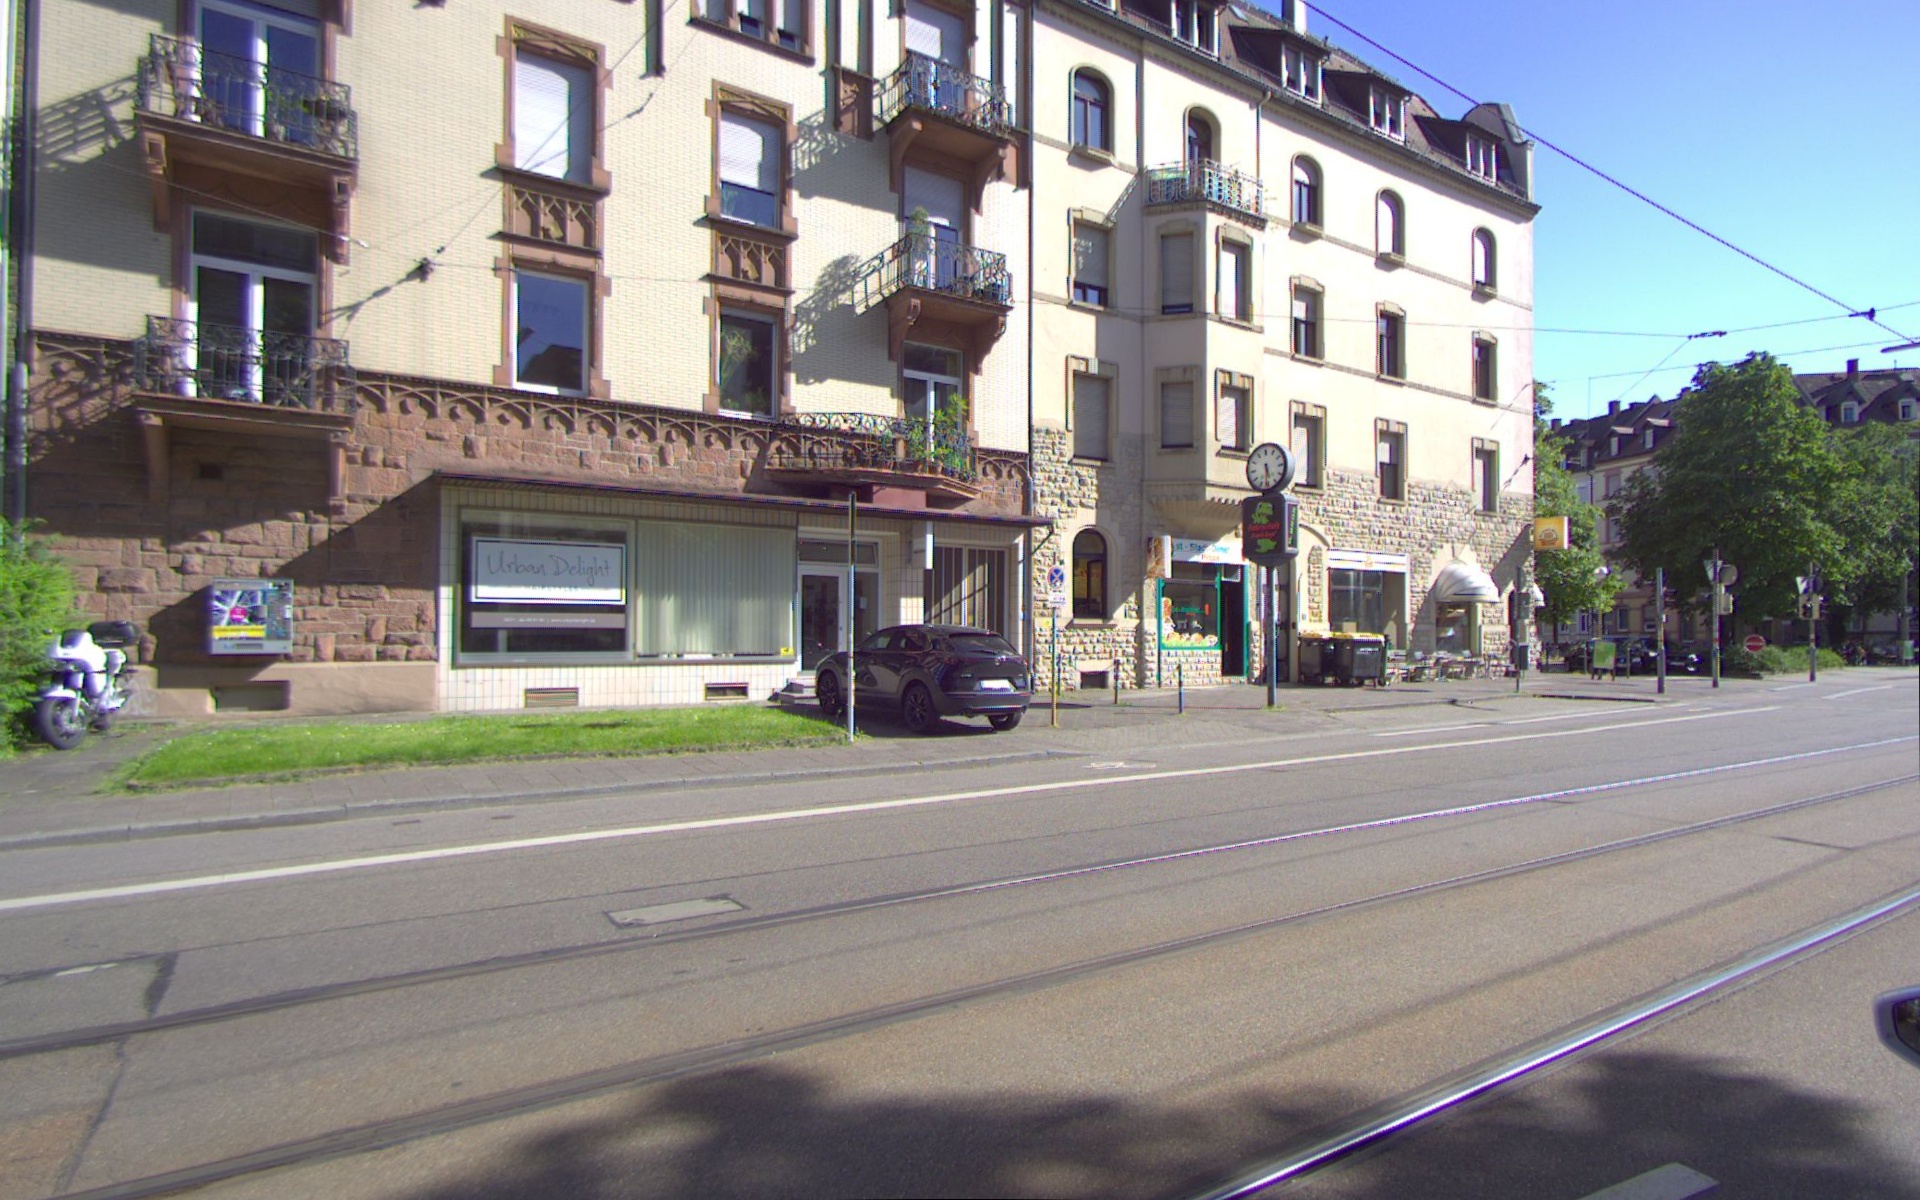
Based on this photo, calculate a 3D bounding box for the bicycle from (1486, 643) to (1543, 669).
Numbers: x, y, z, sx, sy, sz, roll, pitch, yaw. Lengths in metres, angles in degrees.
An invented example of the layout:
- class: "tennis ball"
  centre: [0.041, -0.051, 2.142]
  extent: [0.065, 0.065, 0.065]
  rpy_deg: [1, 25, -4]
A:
- class: "bicycle"
  centre: [23.264, 2.342, 42.193]
  extent: [1.997, 0.993, 0.611]
  rpy_deg: [1, -1, 7]

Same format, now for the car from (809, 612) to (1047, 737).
- class: "car"
  centre: [-0.629, 1.061, 15.756]
  extent: [1.756, 1.523, 3.958]
  rpy_deg: [2, 1, -37]

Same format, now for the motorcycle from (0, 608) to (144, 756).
- class: "motorcycle"
  centre: [-10.181, 0.849, 11.581]
  extent: [0.815, 1.475, 3.067]
  rpy_deg: [2, -1, -33]

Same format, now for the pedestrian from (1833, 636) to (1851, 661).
- class: "pedestrian"
  centre: [42.234, 2.315, 48.106]
  extent: [0.570, 1.217, 0.605]
  rpy_deg: [-2, -2, 39]

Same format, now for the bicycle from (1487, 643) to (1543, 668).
- class: "bicycle"
  centre: [23.721, 2.363, 42.944]
  extent: [1.997, 0.993, 0.611]
  rpy_deg: [1, -1, 7]

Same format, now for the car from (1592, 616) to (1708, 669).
- class: "car"
  centre: [28.553, 1.718, 41.738]
  extent: [1.961, 2.040, 3.999]
  rpy_deg: [1, -1, -2]

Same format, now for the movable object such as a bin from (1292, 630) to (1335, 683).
- class: "movable object such as a bin"
  centre: [9.120, 1.453, 25.914]
  extent: [0.647, 1.343, 0.854]
  rpy_deg: [2, -1, -19]

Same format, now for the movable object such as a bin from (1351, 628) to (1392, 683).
- class: "movable object such as a bin"
  centre: [10.897, 1.456, 26.608]
  extent: [0.840, 1.399, 1.028]
  rpy_deg: [1, -1, 14]

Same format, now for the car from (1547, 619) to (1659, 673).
- class: "car"
  centre: [26.315, 1.831, 41.292]
  extent: [1.961, 2.040, 3.999]
  rpy_deg: [1, -1, -2]

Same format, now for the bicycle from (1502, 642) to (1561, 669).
- class: "bicycle"
  centre: [23.096, 2.231, 40.619]
  extent: [1.997, 0.993, 0.611]
  rpy_deg: [1, -1, 7]

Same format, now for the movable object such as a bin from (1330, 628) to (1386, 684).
- class: "movable object such as a bin"
  centre: [10.194, 1.433, 25.743]
  extent: [1.011, 1.399, 0.854]
  rpy_deg: [2, -1, -19]
